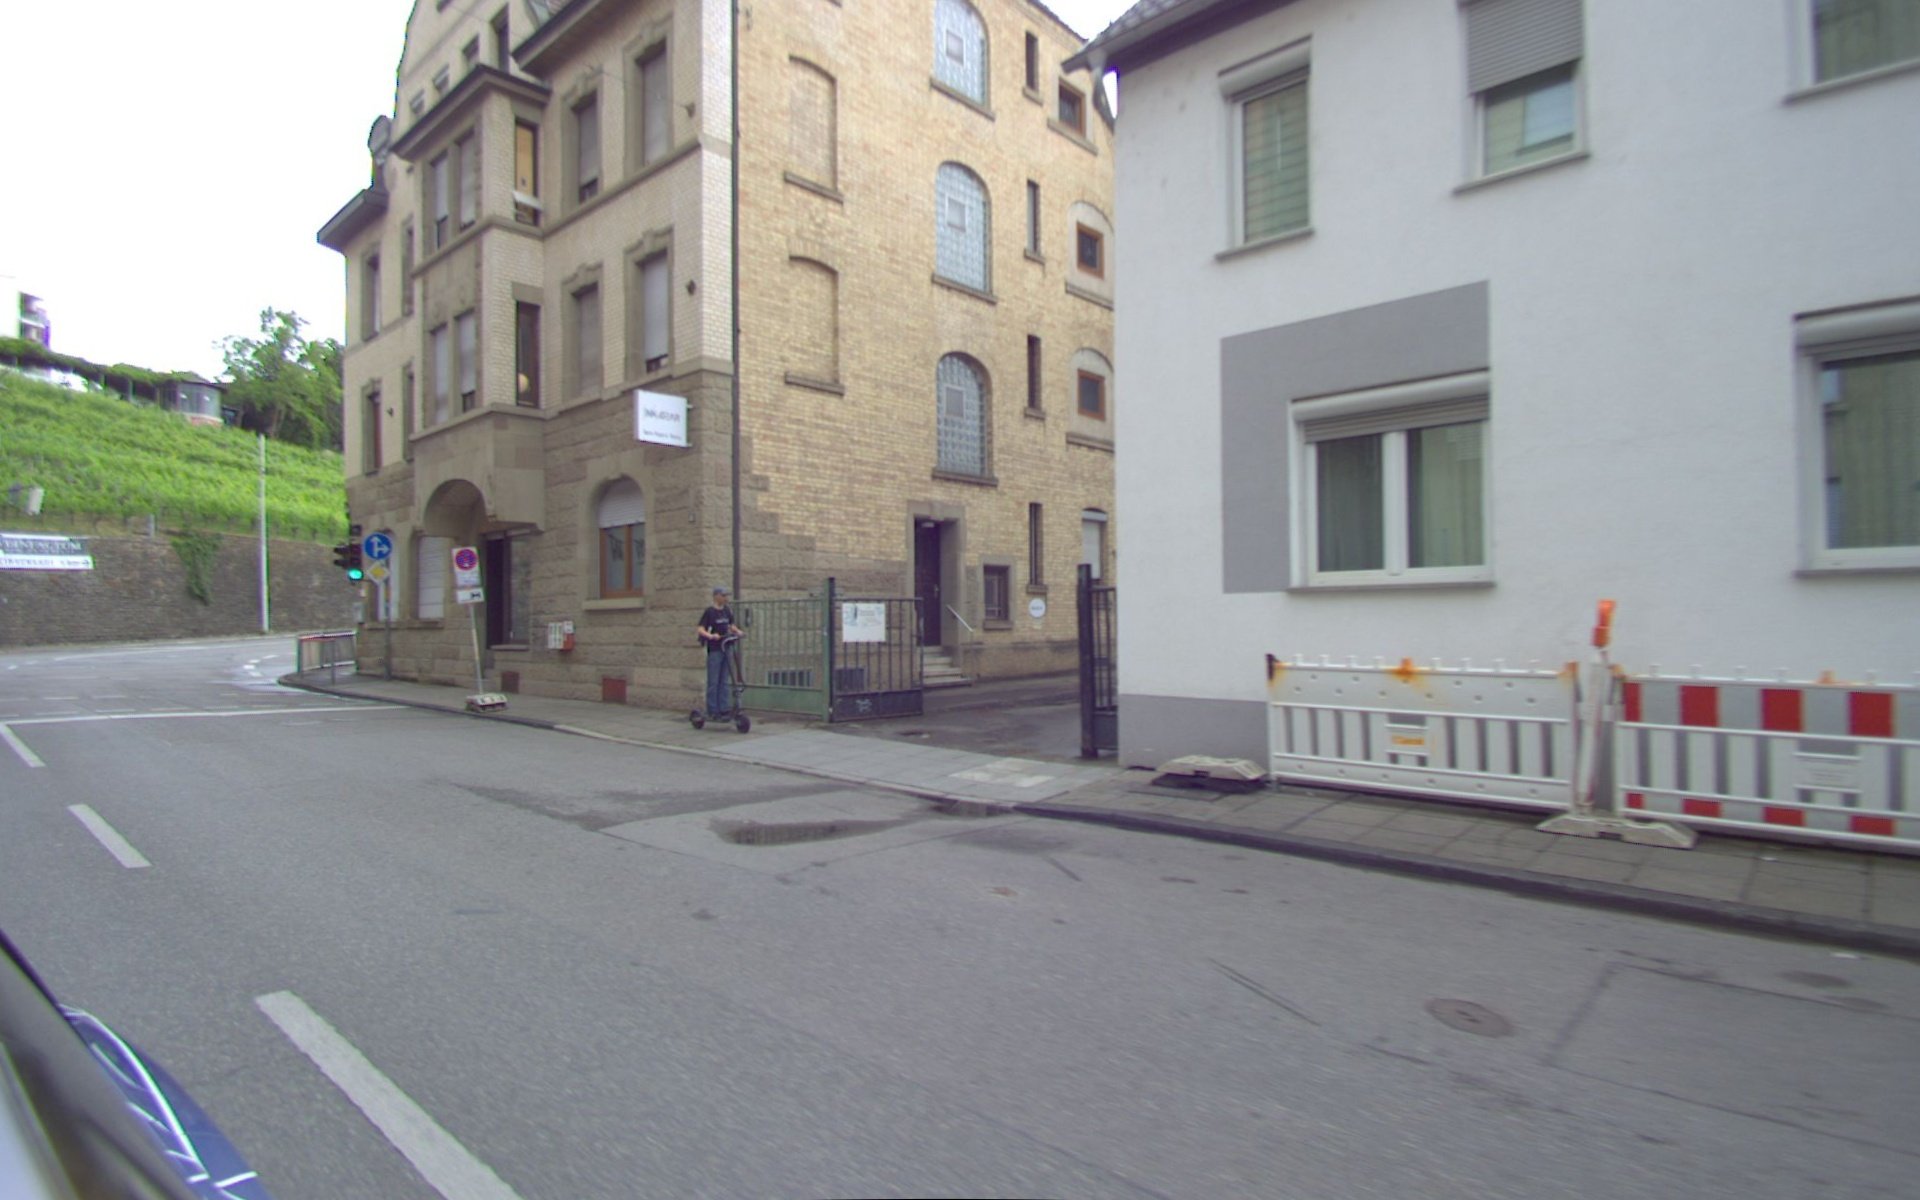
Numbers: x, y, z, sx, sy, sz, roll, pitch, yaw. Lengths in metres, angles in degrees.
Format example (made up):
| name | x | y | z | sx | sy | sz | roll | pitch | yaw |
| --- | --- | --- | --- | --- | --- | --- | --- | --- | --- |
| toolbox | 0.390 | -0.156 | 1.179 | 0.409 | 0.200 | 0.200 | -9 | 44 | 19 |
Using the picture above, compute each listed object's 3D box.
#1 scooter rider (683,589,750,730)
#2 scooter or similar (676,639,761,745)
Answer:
| name | x | y | z | sx | sy | sz | roll | pitch | yaw |
| --- | --- | --- | --- | --- | --- | --- | --- | --- | --- |
| scooter rider | -3.091 | 0.734 | 12.833 | 0.577 | 1.718 | 0.482 | -1 | 3 | 43 |
| scooter or similar | -3.083 | 1.140 | 12.858 | 1.227 | 1.251 | 0.374 | -2 | 2 | 44 |
